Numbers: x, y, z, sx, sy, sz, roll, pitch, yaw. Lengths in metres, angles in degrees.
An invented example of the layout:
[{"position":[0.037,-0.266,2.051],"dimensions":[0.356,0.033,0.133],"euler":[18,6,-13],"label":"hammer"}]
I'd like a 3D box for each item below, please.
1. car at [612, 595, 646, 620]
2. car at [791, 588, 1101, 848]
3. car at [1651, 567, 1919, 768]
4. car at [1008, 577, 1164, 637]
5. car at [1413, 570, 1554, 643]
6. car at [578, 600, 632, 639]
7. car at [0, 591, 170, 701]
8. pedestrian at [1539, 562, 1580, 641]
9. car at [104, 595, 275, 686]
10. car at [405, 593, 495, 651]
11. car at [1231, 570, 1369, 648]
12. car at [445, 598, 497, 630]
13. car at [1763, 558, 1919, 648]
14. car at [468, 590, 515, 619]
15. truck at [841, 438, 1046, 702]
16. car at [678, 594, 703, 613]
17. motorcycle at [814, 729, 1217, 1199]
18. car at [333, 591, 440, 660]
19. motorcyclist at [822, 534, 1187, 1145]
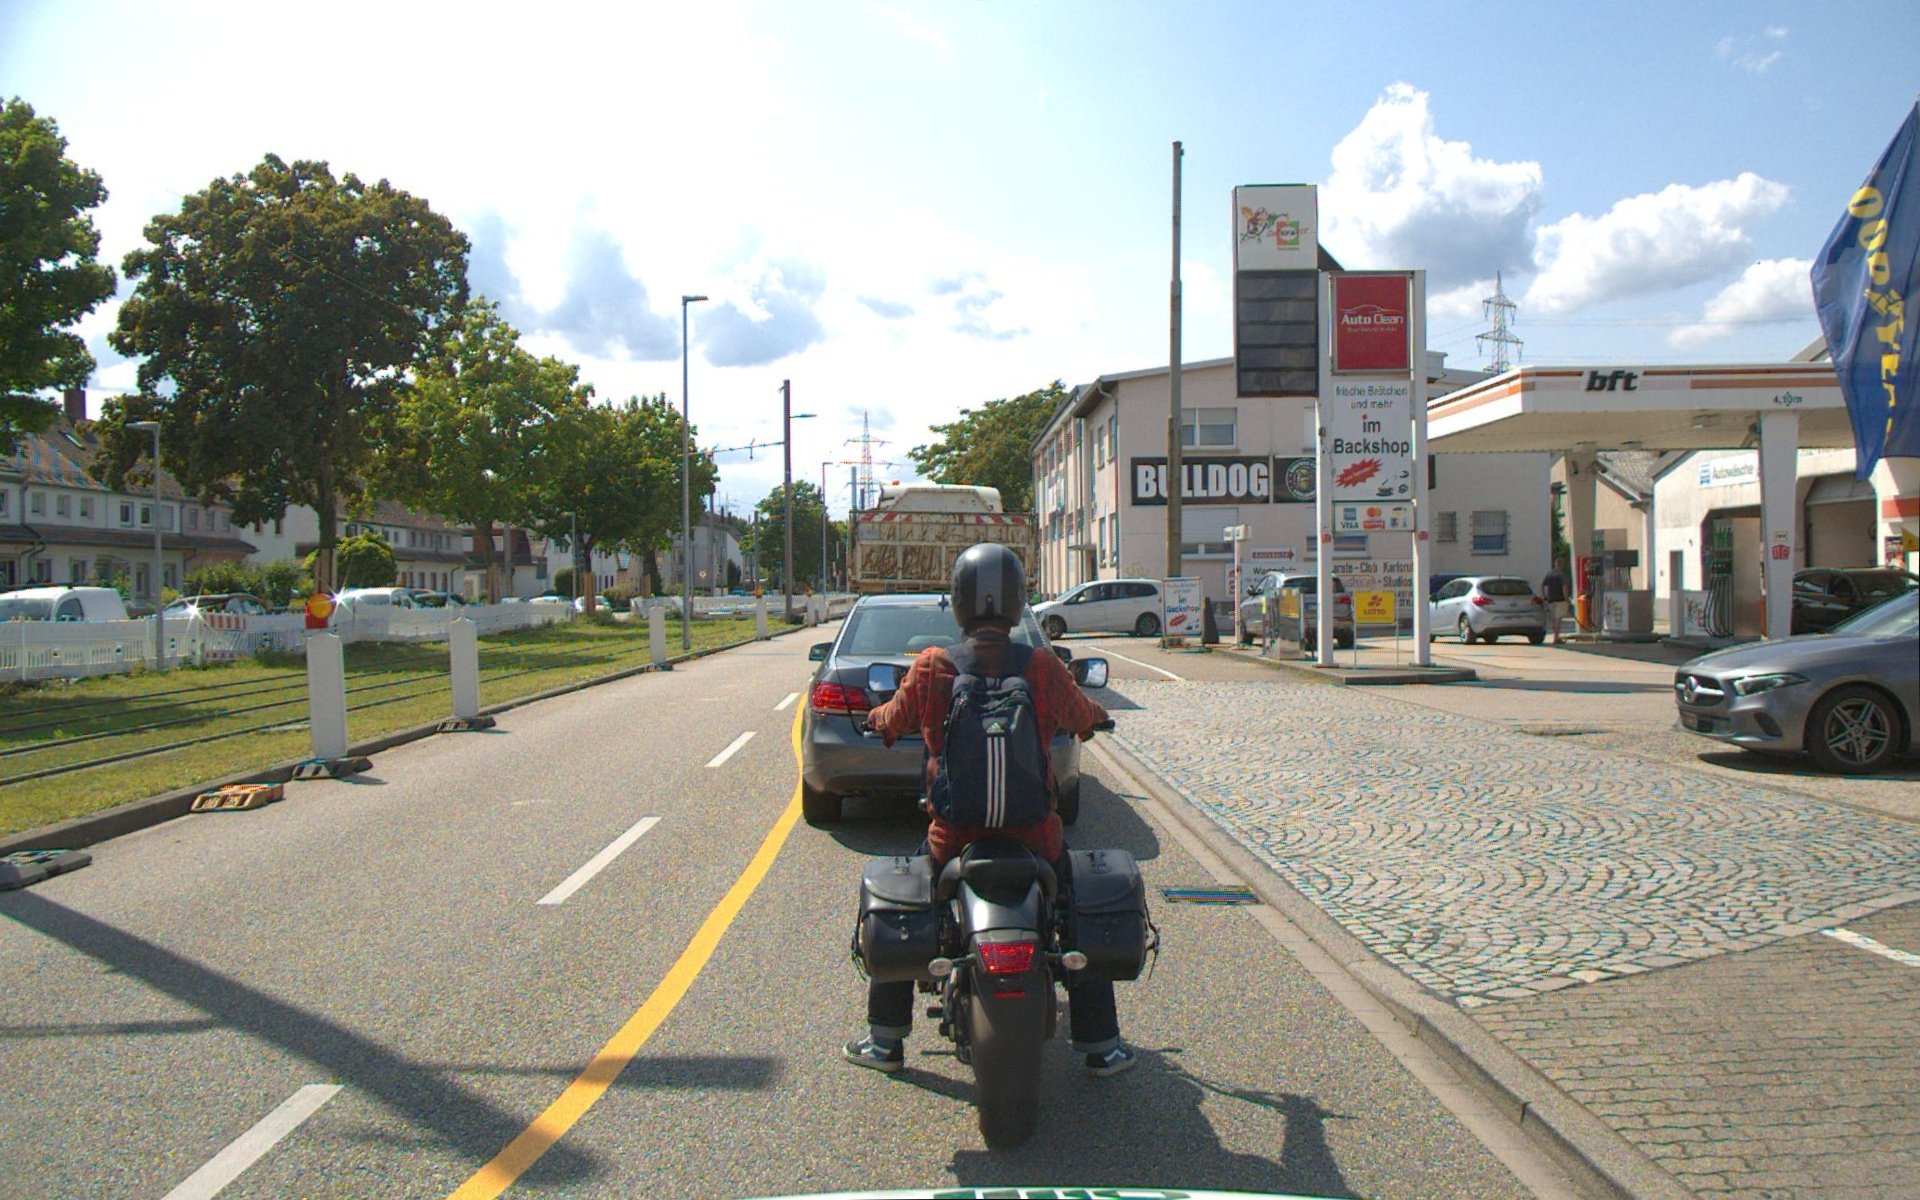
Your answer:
[{"position":[-24.967,0.548,124.850],"dimensions":[1.740,1.753,4.127],"euler":[-1,0,-1],"label":"car"},{"position":[-0.107,0.676,11.649],"dimensions":[1.786,1.478,3.999],"euler":[1,0,-1],"label":"car"},{"position":[7.792,0.455,12.789],"dimensions":[4.183,1.440,1.675],"euler":[-1,0,3],"label":"car"},{"position":[3.554,0.185,47.072],"dimensions":[4.152,1.570,1.669],"euler":[-1,0,-9],"label":"car"},{"position":[11.716,0.120,37.263],"dimensions":[1.770,1.529,3.831],"euler":[-1,0,-3],"label":"car"},{"position":[-17.060,0.909,79.683],"dimensions":[1.740,1.753,4.127],"euler":[-1,0,-1],"label":"car"},{"position":[-16.432,0.781,30.387],"dimensions":[1.740,1.853,4.363],"euler":[-1,0,-1],"label":"car"},{"position":[12.947,0.031,35.709],"dimensions":[0.696,1.685,0.546],"euler":[-1,0,35],"label":"pedestrian"},{"position":[-16.679,0.822,36.023],"dimensions":[1.740,1.805,4.227],"euler":[-1,0,-1],"label":"car"},{"position":[-16.977,0.698,55.258],"dimensions":[1.740,1.837,4.127],"euler":[-1,0,-1],"label":"car"},{"position":[7.452,0.176,36.627],"dimensions":[1.636,1.589,4.236],"euler":[-1,0,-8],"label":"car"},{"position":[-28.303,0.777,95.832],"dimensions":[1.740,1.753,4.127],"euler":[-1,0,-1],"label":"car"},{"position":[16.612,0.026,30.317],"dimensions":[1.770,1.529,3.832],"euler":[-1,0,-3],"label":"car"},{"position":[-29.429,0.274,103.950],"dimensions":[1.740,1.753,4.127],"euler":[-1,0,-1],"label":"car"},{"position":[-0.269,-0.424,25.362],"dimensions":[2.585,3.354,8.055],"euler":[-1,0,-1],"label":"truck"},{"position":[-26.079,0.285,160.257],"dimensions":[1.740,1.753,4.250],"euler":[-1,0,-1],"label":"car"},{"position":[0.116,0.995,5.320],"dimensions":[0.959,0.913,2.653],"euler":[-1,0,-1],"label":"motorcycle"},{"position":[-16.946,0.713,49.080],"dimensions":[1.740,1.900,4.127],"euler":[-1,0,-1],"label":"car"},{"position":[0.114,0.641,5.015],"dimensions":[0.959,1.630,1.087],"euler":[-1,0,-1],"label":"motorcyclist"}]
